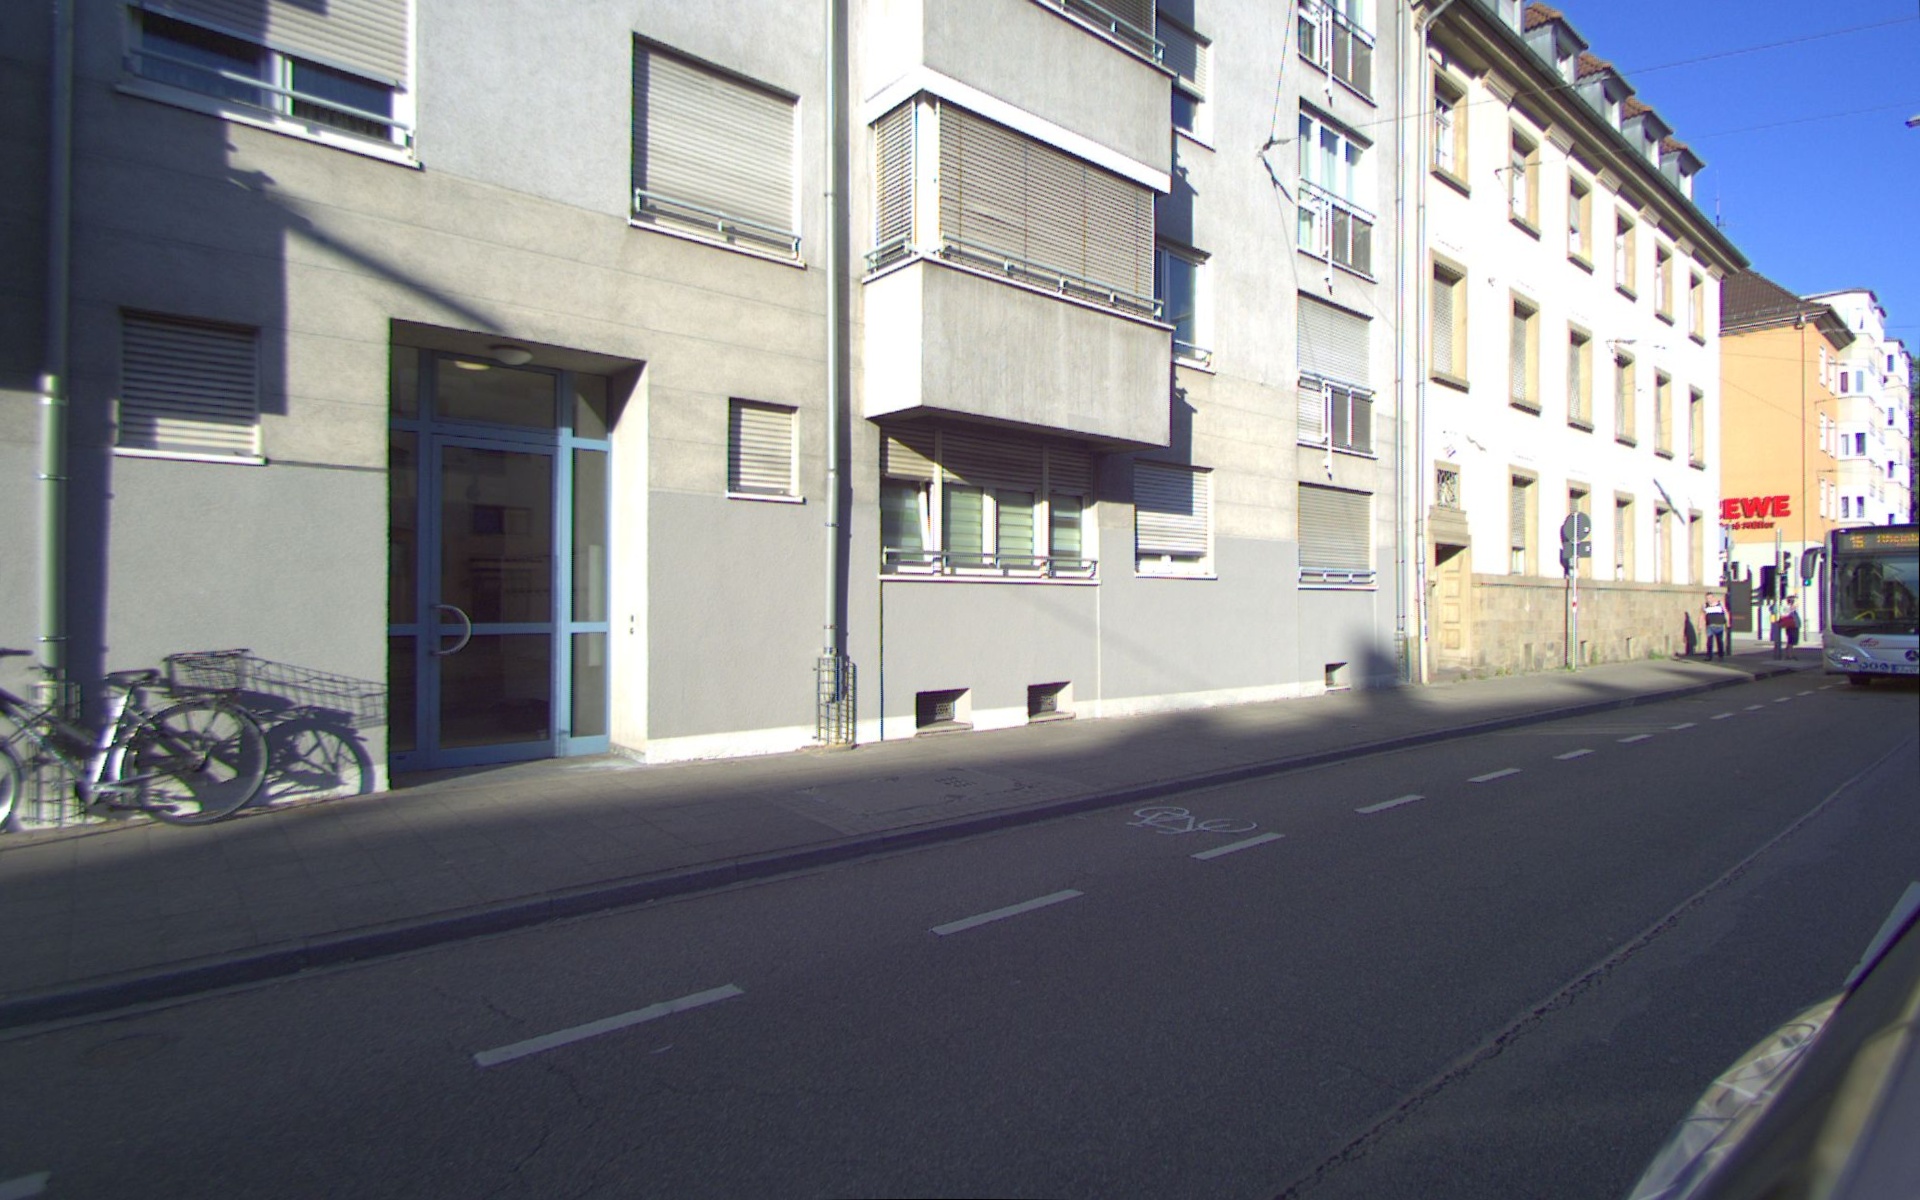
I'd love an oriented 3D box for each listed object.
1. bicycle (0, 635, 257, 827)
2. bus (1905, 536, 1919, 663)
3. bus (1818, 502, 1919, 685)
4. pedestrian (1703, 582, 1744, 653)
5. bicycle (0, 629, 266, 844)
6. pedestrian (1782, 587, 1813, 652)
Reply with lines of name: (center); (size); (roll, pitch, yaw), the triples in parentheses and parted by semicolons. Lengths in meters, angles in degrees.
bicycle: (-5.024, 0.721, 5.722); (1.700, 0.983, 0.279); (0, 3, -42)
bus: (28.242, -0.043, 27.402); (10.414, 3.116, 2.710); (0, -1, -41)
bus: (20.340, -0.129, 20.600); (10.414, 3.116, 2.729); (0, -1, -41)
pedestrian: (19.404, 0.441, 25.716); (0.549, 1.752, 0.648); (1, 2, -40)
bicycle: (-4.796, 0.712, 5.459); (1.700, 1.044, 0.360); (0, 3, -42)
pedestrian: (22.935, 0.534, 27.717); (0.438, 1.753, 0.527); (3, 1, -42)
